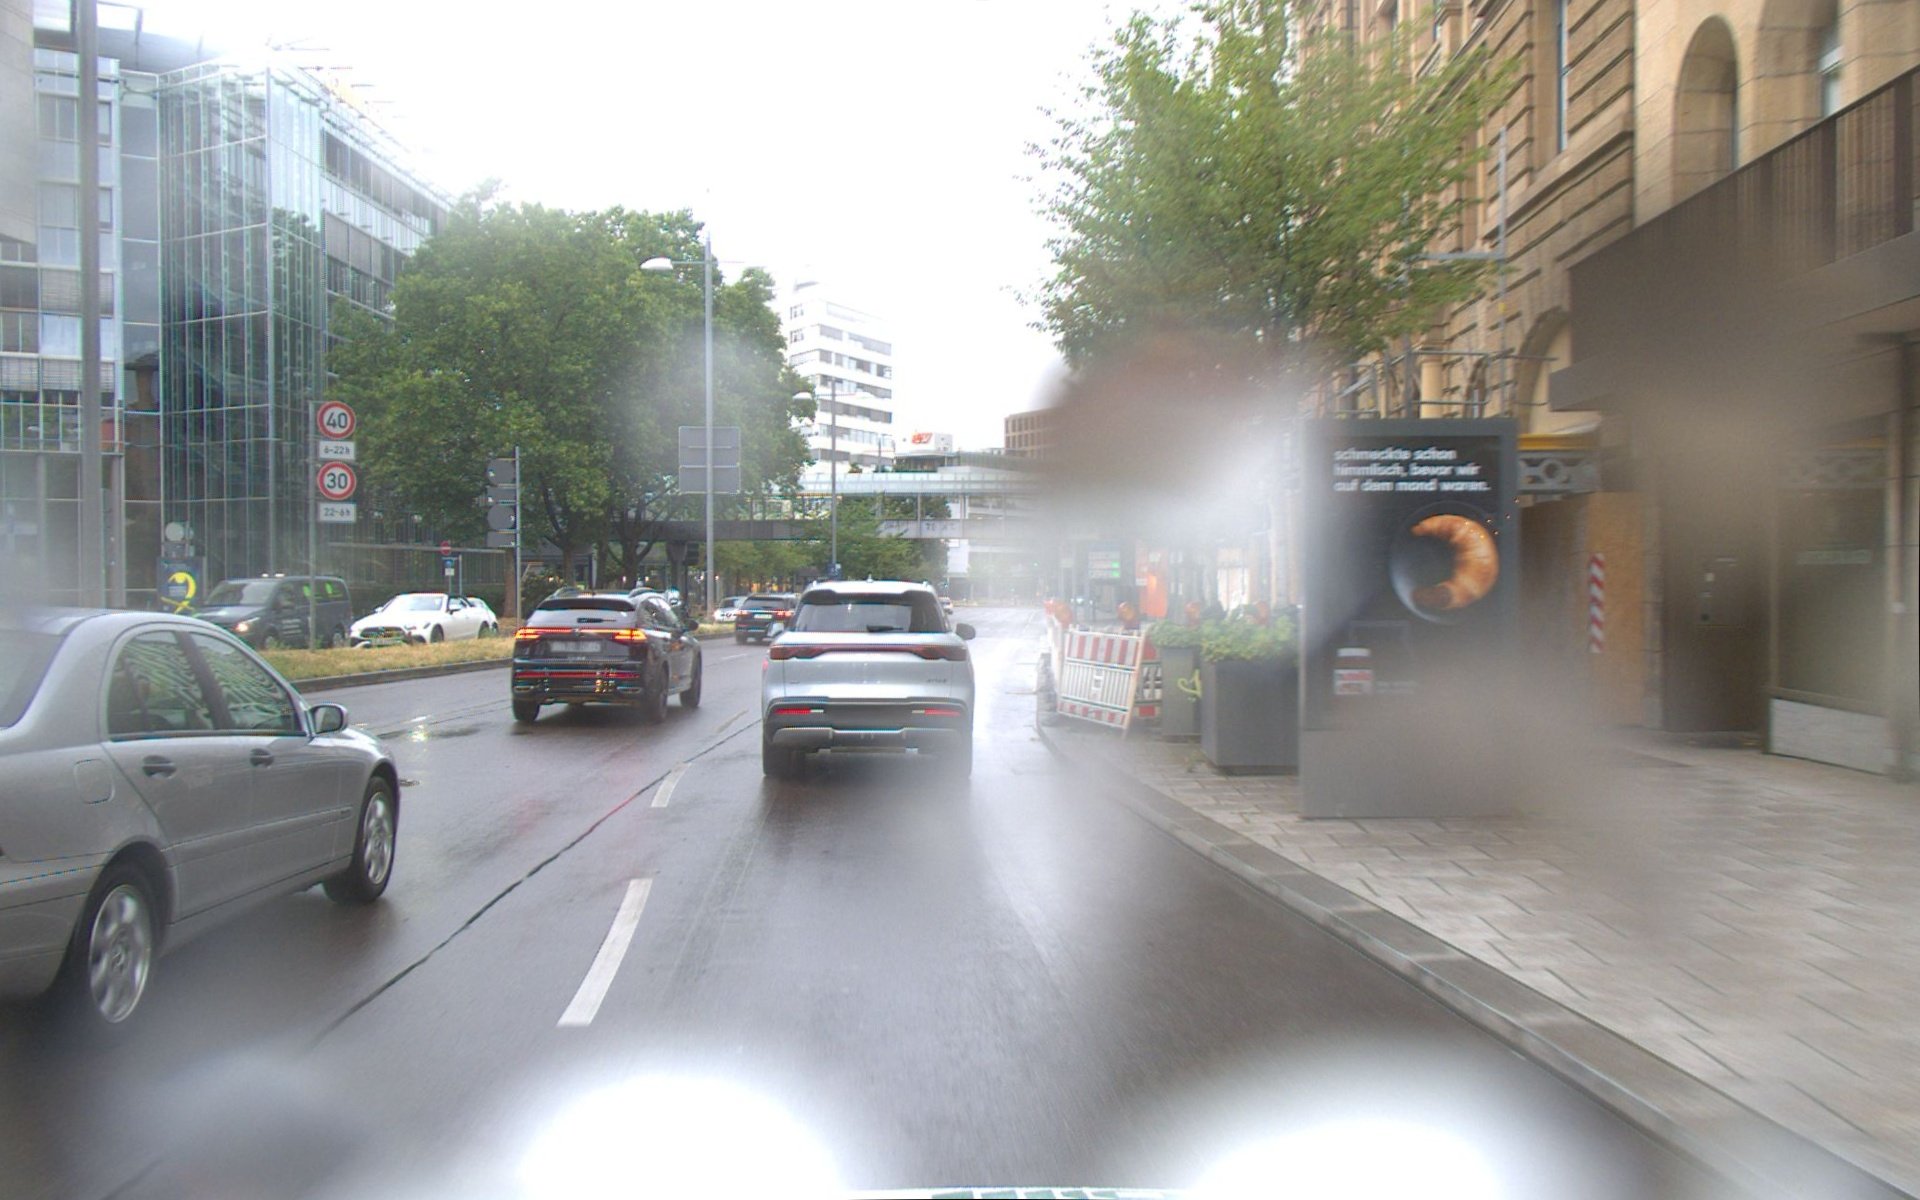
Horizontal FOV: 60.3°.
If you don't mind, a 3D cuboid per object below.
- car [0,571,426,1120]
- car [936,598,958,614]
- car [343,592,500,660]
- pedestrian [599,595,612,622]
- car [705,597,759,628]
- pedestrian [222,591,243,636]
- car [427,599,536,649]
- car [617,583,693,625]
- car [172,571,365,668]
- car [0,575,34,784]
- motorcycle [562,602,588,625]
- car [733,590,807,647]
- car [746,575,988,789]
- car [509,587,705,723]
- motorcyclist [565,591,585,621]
[{"bbox_3d":[-3.544,0.653,6.433,1.639,1.505,4.359,1,1,-2],"label":"car"},{"bbox_3d":[-1.151,0.515,149.203,1.618,1.365,4.002,1,0,4],"label":"car"},{"bbox_3d":[-12.258,0.593,37.946,1.821,1.467,4.316,0,-1,6],"label":"car"},{"bbox_3d":[-24.377,0.611,113.751,0.707,1.839,0.618,0,0,3],"label":"pedestrian"},{"bbox_3d":[-10.403,0.586,75.611,1.563,1.384,4.118,0,-1,5],"label":"car"},{"bbox_3d":[-26.565,0.480,60.396,0.656,1.598,0.817,0,1,-19],"label":"pedestrian"},{"bbox_3d":[-14.660,0.738,50.938,1.690,1.458,4.398,0,-1,6],"label":"car"},{"bbox_3d":[-11.057,0.183,60.219,1.664,1.462,4.584,0,-1,3],"label":"car"},{"bbox_3d":[-15.487,0.446,37.394,1.792,2.037,5.107,0,-1,6],"label":"car"},{"bbox_3d":[-7.980,0.612,9.954,1.833,1.505,4.881,0,1,4],"label":"car"},{"bbox_3d":[-16.479,0.568,70.808,0.680,0.987,1.397,1,0,4],"label":"motorcycle"},{"bbox_3d":[-5.608,0.527,49.136,1.775,1.606,3.999,1,0,-1],"label":"car"},{"bbox_3d":[-0.860,0.648,15.030,1.864,1.650,3.997,1,0,-4],"label":"car"},{"bbox_3d":[-4.148,0.624,20.015,1.739,1.482,3.997,0,-1,-4],"label":"car"},{"bbox_3d":[-16.471,0.254,70.845,0.660,1.260,0.620,1,0,4],"label":"motorcyclist"}]
